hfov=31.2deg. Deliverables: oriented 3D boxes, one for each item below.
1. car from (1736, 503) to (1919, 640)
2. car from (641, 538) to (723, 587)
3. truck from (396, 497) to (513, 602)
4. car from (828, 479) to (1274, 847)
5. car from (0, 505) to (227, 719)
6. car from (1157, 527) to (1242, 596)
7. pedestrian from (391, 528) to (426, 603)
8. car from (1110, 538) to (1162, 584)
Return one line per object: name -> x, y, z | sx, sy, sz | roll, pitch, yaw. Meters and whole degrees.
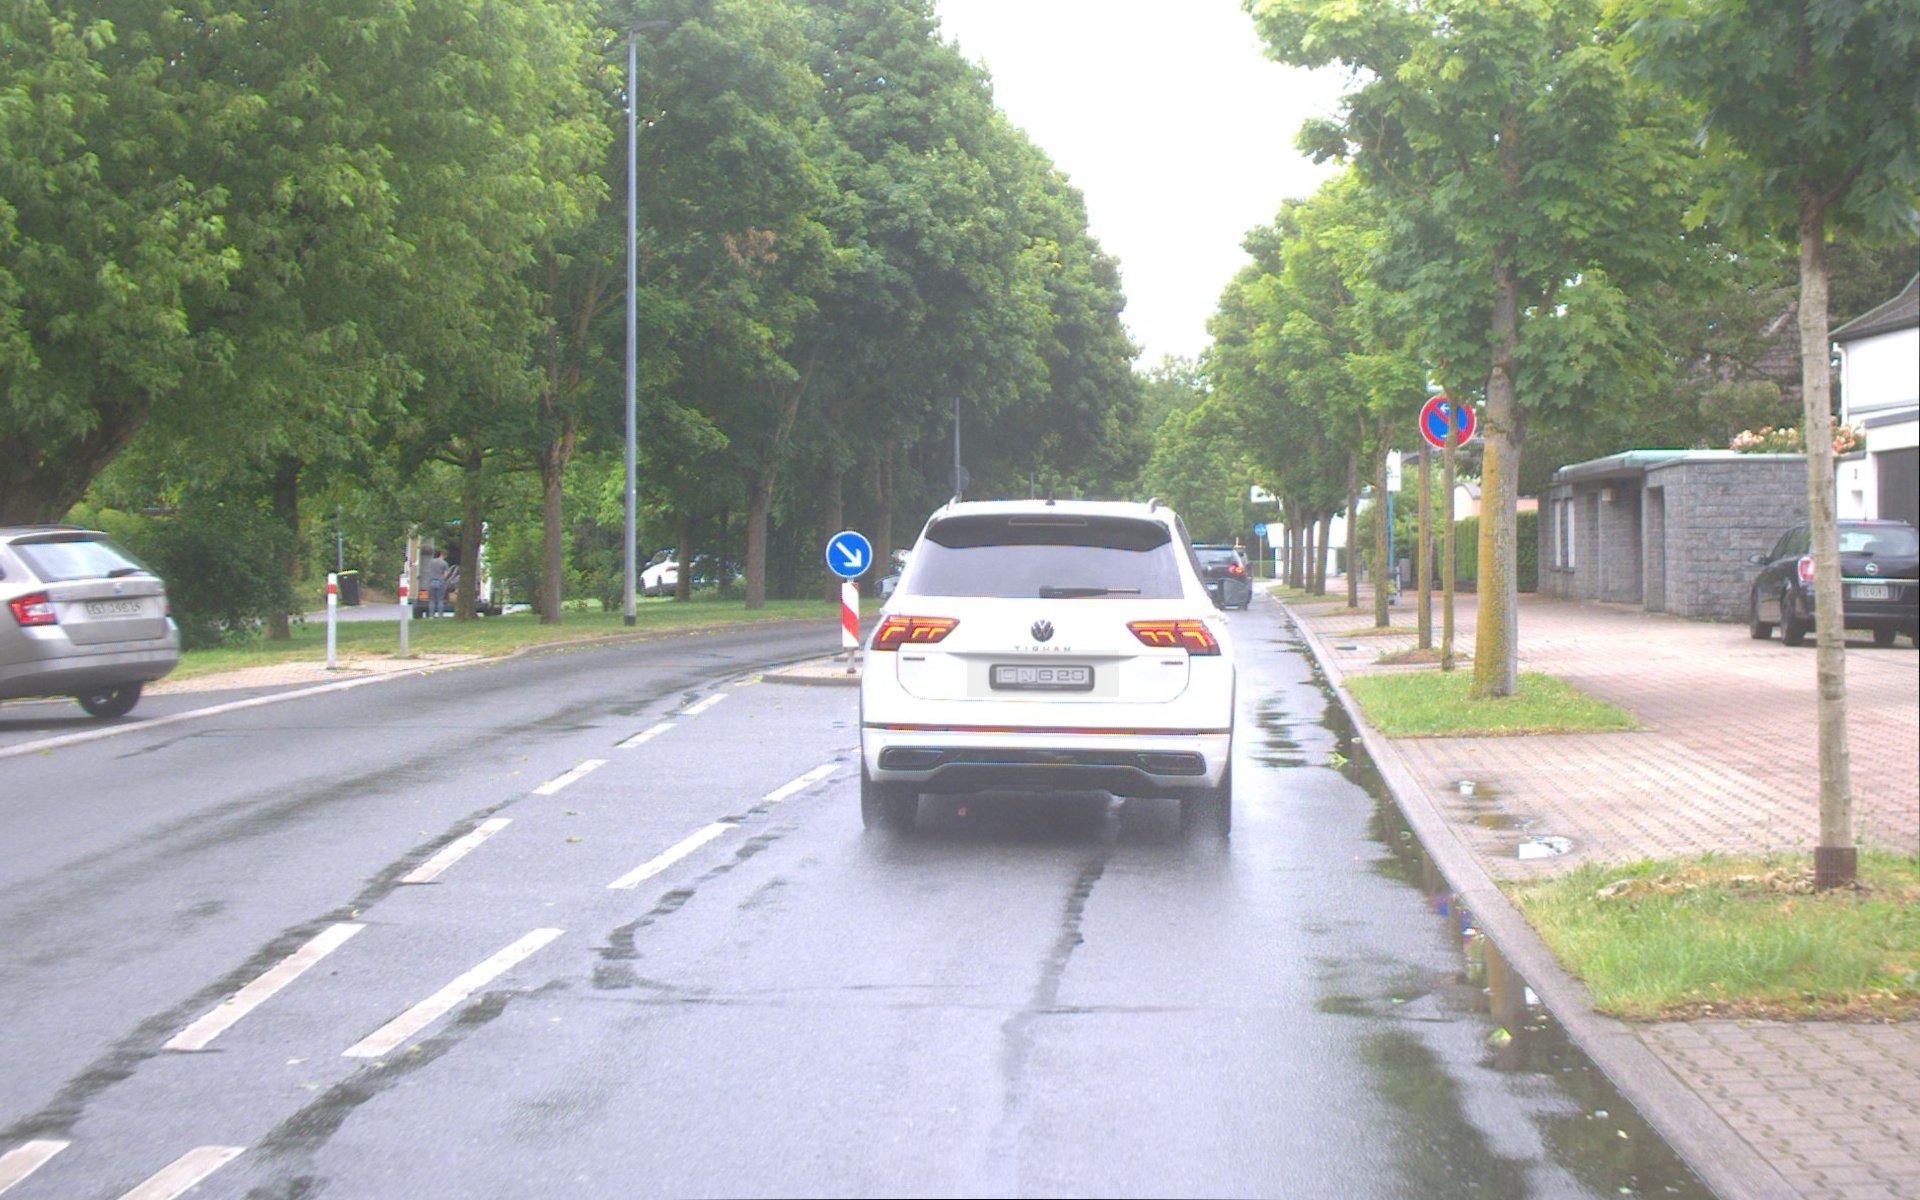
car -> 10.332, -0.367, 40.495 | 1.771, 1.493, 4.543 | -1, 1, 6
car -> -8.673, -1.173, 107.063 | 1.841, 1.477, 4.001 | -1, 1, -15
truck -> -12.986, -1.301, 88.658 | 2.284, 2.588, 5.875 | -1, 1, -1
car -> 0.501, 0.245, 17.713 | 1.997, 1.626, 4.000 | 2, 1, 3
car -> -7.661, 0.109, 25.734 | 3.993, 1.482, 1.844 | -2, 1, 30
car -> 5.515, -0.908, 78.904 | 1.841, 1.482, 4.000 | 2, 1, 5
pedestrian -> -13.676, -0.850, 85.254 | 0.709, 1.834, 0.824 | -1, 1, -1
car -> 6.496, -1.431, 126.584 | 1.815, 1.642, 4.000 | 1, 1, 4
